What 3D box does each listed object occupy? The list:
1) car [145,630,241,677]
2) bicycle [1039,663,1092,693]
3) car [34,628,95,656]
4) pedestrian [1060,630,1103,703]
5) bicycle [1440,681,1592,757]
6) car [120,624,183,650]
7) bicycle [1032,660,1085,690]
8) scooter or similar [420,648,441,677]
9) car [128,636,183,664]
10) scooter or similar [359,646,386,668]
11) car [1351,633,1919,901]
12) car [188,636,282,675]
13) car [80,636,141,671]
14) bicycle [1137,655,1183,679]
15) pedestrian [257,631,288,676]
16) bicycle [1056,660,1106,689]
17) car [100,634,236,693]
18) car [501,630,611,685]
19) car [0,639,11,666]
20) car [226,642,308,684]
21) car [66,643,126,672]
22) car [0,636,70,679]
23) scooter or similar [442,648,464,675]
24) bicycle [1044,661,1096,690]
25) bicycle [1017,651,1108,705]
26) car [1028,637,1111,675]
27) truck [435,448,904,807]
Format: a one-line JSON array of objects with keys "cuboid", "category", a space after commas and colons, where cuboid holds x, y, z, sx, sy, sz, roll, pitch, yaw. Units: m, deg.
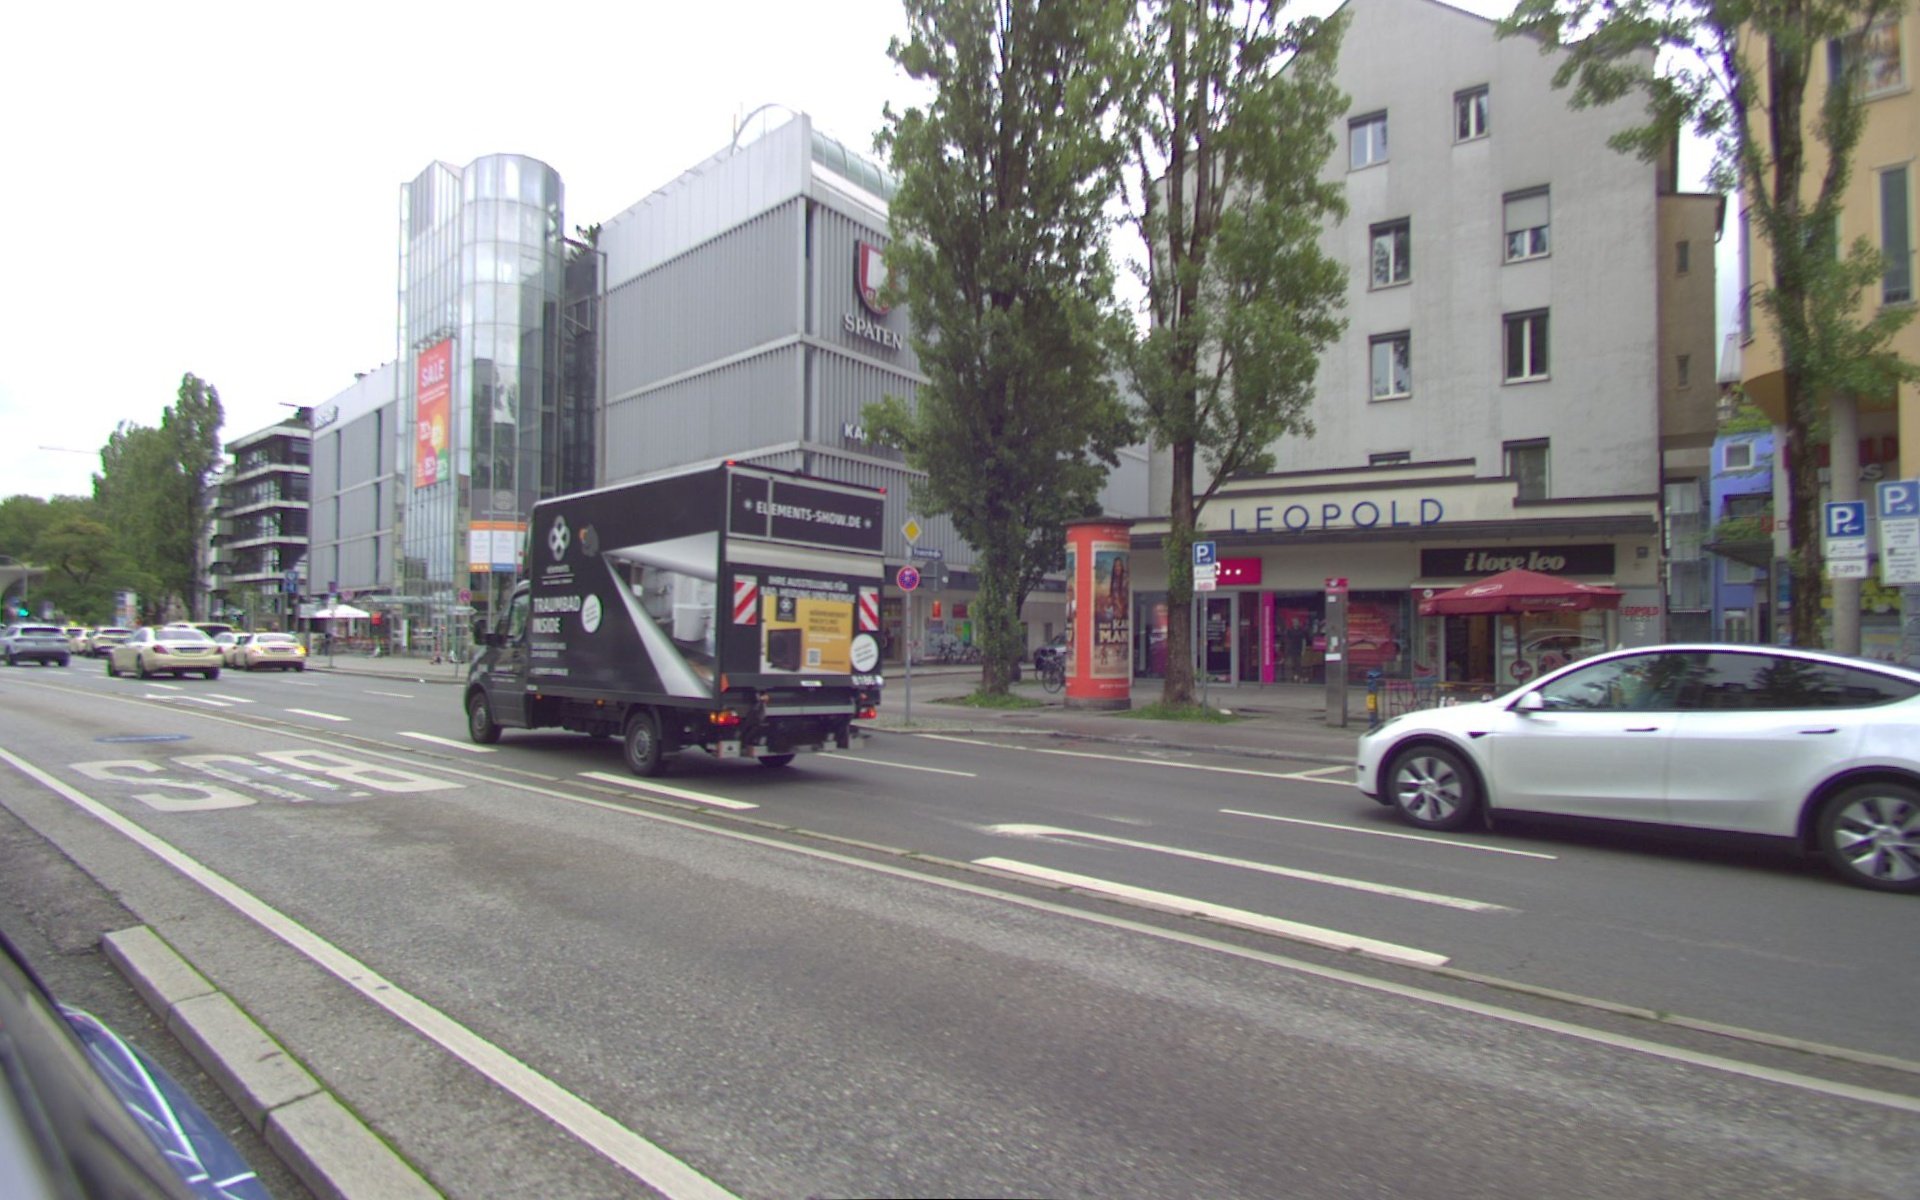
[{"cuboid": [-35.202, 2.425, 46.407, 5.309, 2.029, 1.976, -1, -3, 35], "category": "car"}, {"cuboid": [3.656, 2.701, 35.237, 1.878, 0.971, 0.454, -1, -3, 38], "category": "bicycle"}, {"cuboid": [-54.184, 2.549, 61.222, 4.462, 1.624, 1.575, -1, -3, 32], "category": "car"}, {"cuboid": [3.264, 1.763, 27.195, 0.832, 1.913, 0.849, -2, -3, 39], "category": "pedestrian"}, {"cuboid": [8.062, 1.707, 14.738, 1.878, 0.971, 0.454, -1, -3, 38], "category": "bicycle"}, {"cuboid": [-49.818, 2.280, 62.369, 3.989, 1.579, 1.891, -1, -3, 34], "category": "car"}, {"cuboid": [3.356, 2.567, 34.718, 1.878, 0.971, 0.454, -1, -3, 38], "category": "bicycle"}, {"cuboid": [-23.559, 2.779, 45.052, 0.992, 1.233, 0.252, -1, -2, 26], "category": "scooter or similar"}, {"cuboid": [-46.533, 2.861, 58.522, 3.997, 1.548, 1.734, -2, -3, 41], "category": "car"}, {"cuboid": [-31.045, 3.004, 53.487, 1.368, 1.148, 0.366, 0, -2, 14], "category": "scooter or similar"}, {"cuboid": [5.774, 1.117, 7.969, 4.638, 1.664, 1.971, -2, -4, 45], "category": "car"}, {"cuboid": [-30.713, 2.295, 42.828, 5.080, 1.564, 1.958, -2, -3, 39], "category": "car"}, {"cuboid": [-44.348, 2.782, 52.825, 4.383, 1.711, 1.864, -2, -4, 43], "category": "car"}, {"cuboid": [8.332, 2.780, 42.216, 1.878, 0.971, 0.454, -1, -3, 38], "category": "bicycle"}, {"cuboid": [-29.840, 2.321, 43.933, 0.846, 1.881, 0.778, 0, -4, 40], "category": "pedestrian"}, {"cuboid": [4.414, 2.707, 36.957, 1.878, 0.971, 0.454, -1, -3, 38], "category": "bicycle"}, {"cuboid": [-23.774, 1.856, 30.306, 5.188, 1.601, 1.974, -1, -4, 38], "category": "car"}, {"cuboid": [-15.902, 2.210, 39.696, 5.111, 2.029, 1.972, -2, -3, 42], "category": "car"}, {"cuboid": [-53.872, 2.861, 55.610, 3.992, 1.477, 1.768, -1, -3, 36], "category": "car"}, {"cuboid": [-26.471, 2.384, 38.608, 1.834, 1.481, 4.987, 5, -5, -42], "category": "car"}, {"cuboid": [-48.653, 3.211, 56.936, 4.846, 1.552, 1.925, -2, -3, 42], "category": "car"}, {"cuboid": [-36.605, 2.211, 39.623, 4.349, 1.615, 1.891, -1, -3, 39], "category": "car"}, {"cuboid": [-22.947, 2.791, 45.804, 0.989, 1.182, 0.253, -1, -2, 19], "category": "scooter or similar"}, {"cuboid": [3.936, 2.706, 36.324, 1.878, 0.971, 0.454, -1, -3, 38], "category": "bicycle"}, {"cuboid": [2.681, 2.023, 26.597, 2.300, 1.318, 0.838, -1, -3, 38], "category": "bicycle"}, {"cuboid": [5.164, 2.593, 47.435, 1.997, 1.674, 4.184, -1, -3, 37], "category": "car"}, {"cuboid": [-4.010, 0.375, 12.725, 7.157, 3.348, 2.266, -2, -4, 43], "category": "truck"}]
